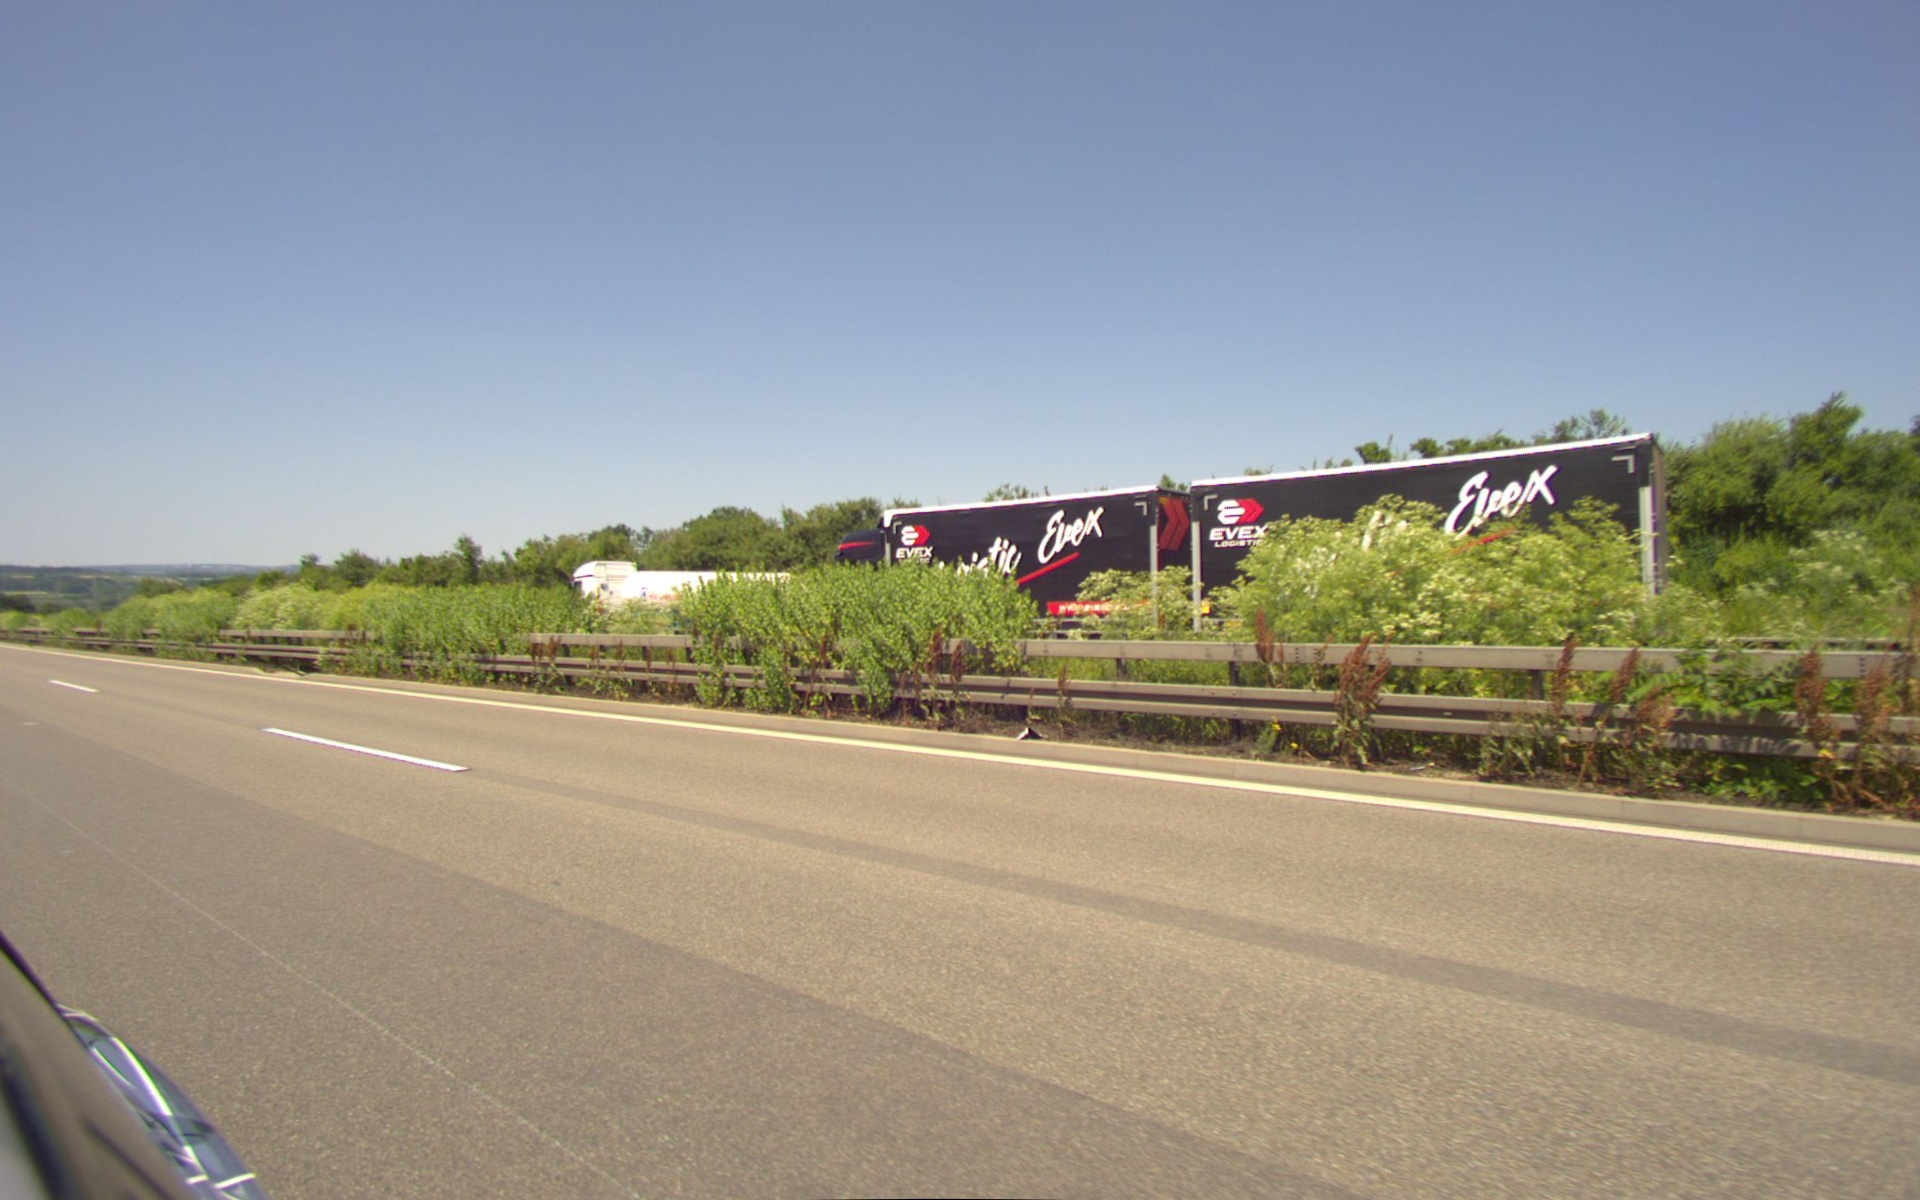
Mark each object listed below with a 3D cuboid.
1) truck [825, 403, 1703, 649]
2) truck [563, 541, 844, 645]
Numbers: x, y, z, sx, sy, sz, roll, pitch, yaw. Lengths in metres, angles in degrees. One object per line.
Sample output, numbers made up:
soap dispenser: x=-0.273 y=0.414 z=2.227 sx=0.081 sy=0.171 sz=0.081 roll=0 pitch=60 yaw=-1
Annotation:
truck: x=4.650 y=-0.940 z=22.124 sx=18.511 sy=3.638 sz=3.198 roll=-2 pitch=1 yaw=39
truck: x=-10.496 y=-0.039 z=39.346 sx=14.672 sy=3.482 sz=2.434 roll=-2 pitch=-2 yaw=40
